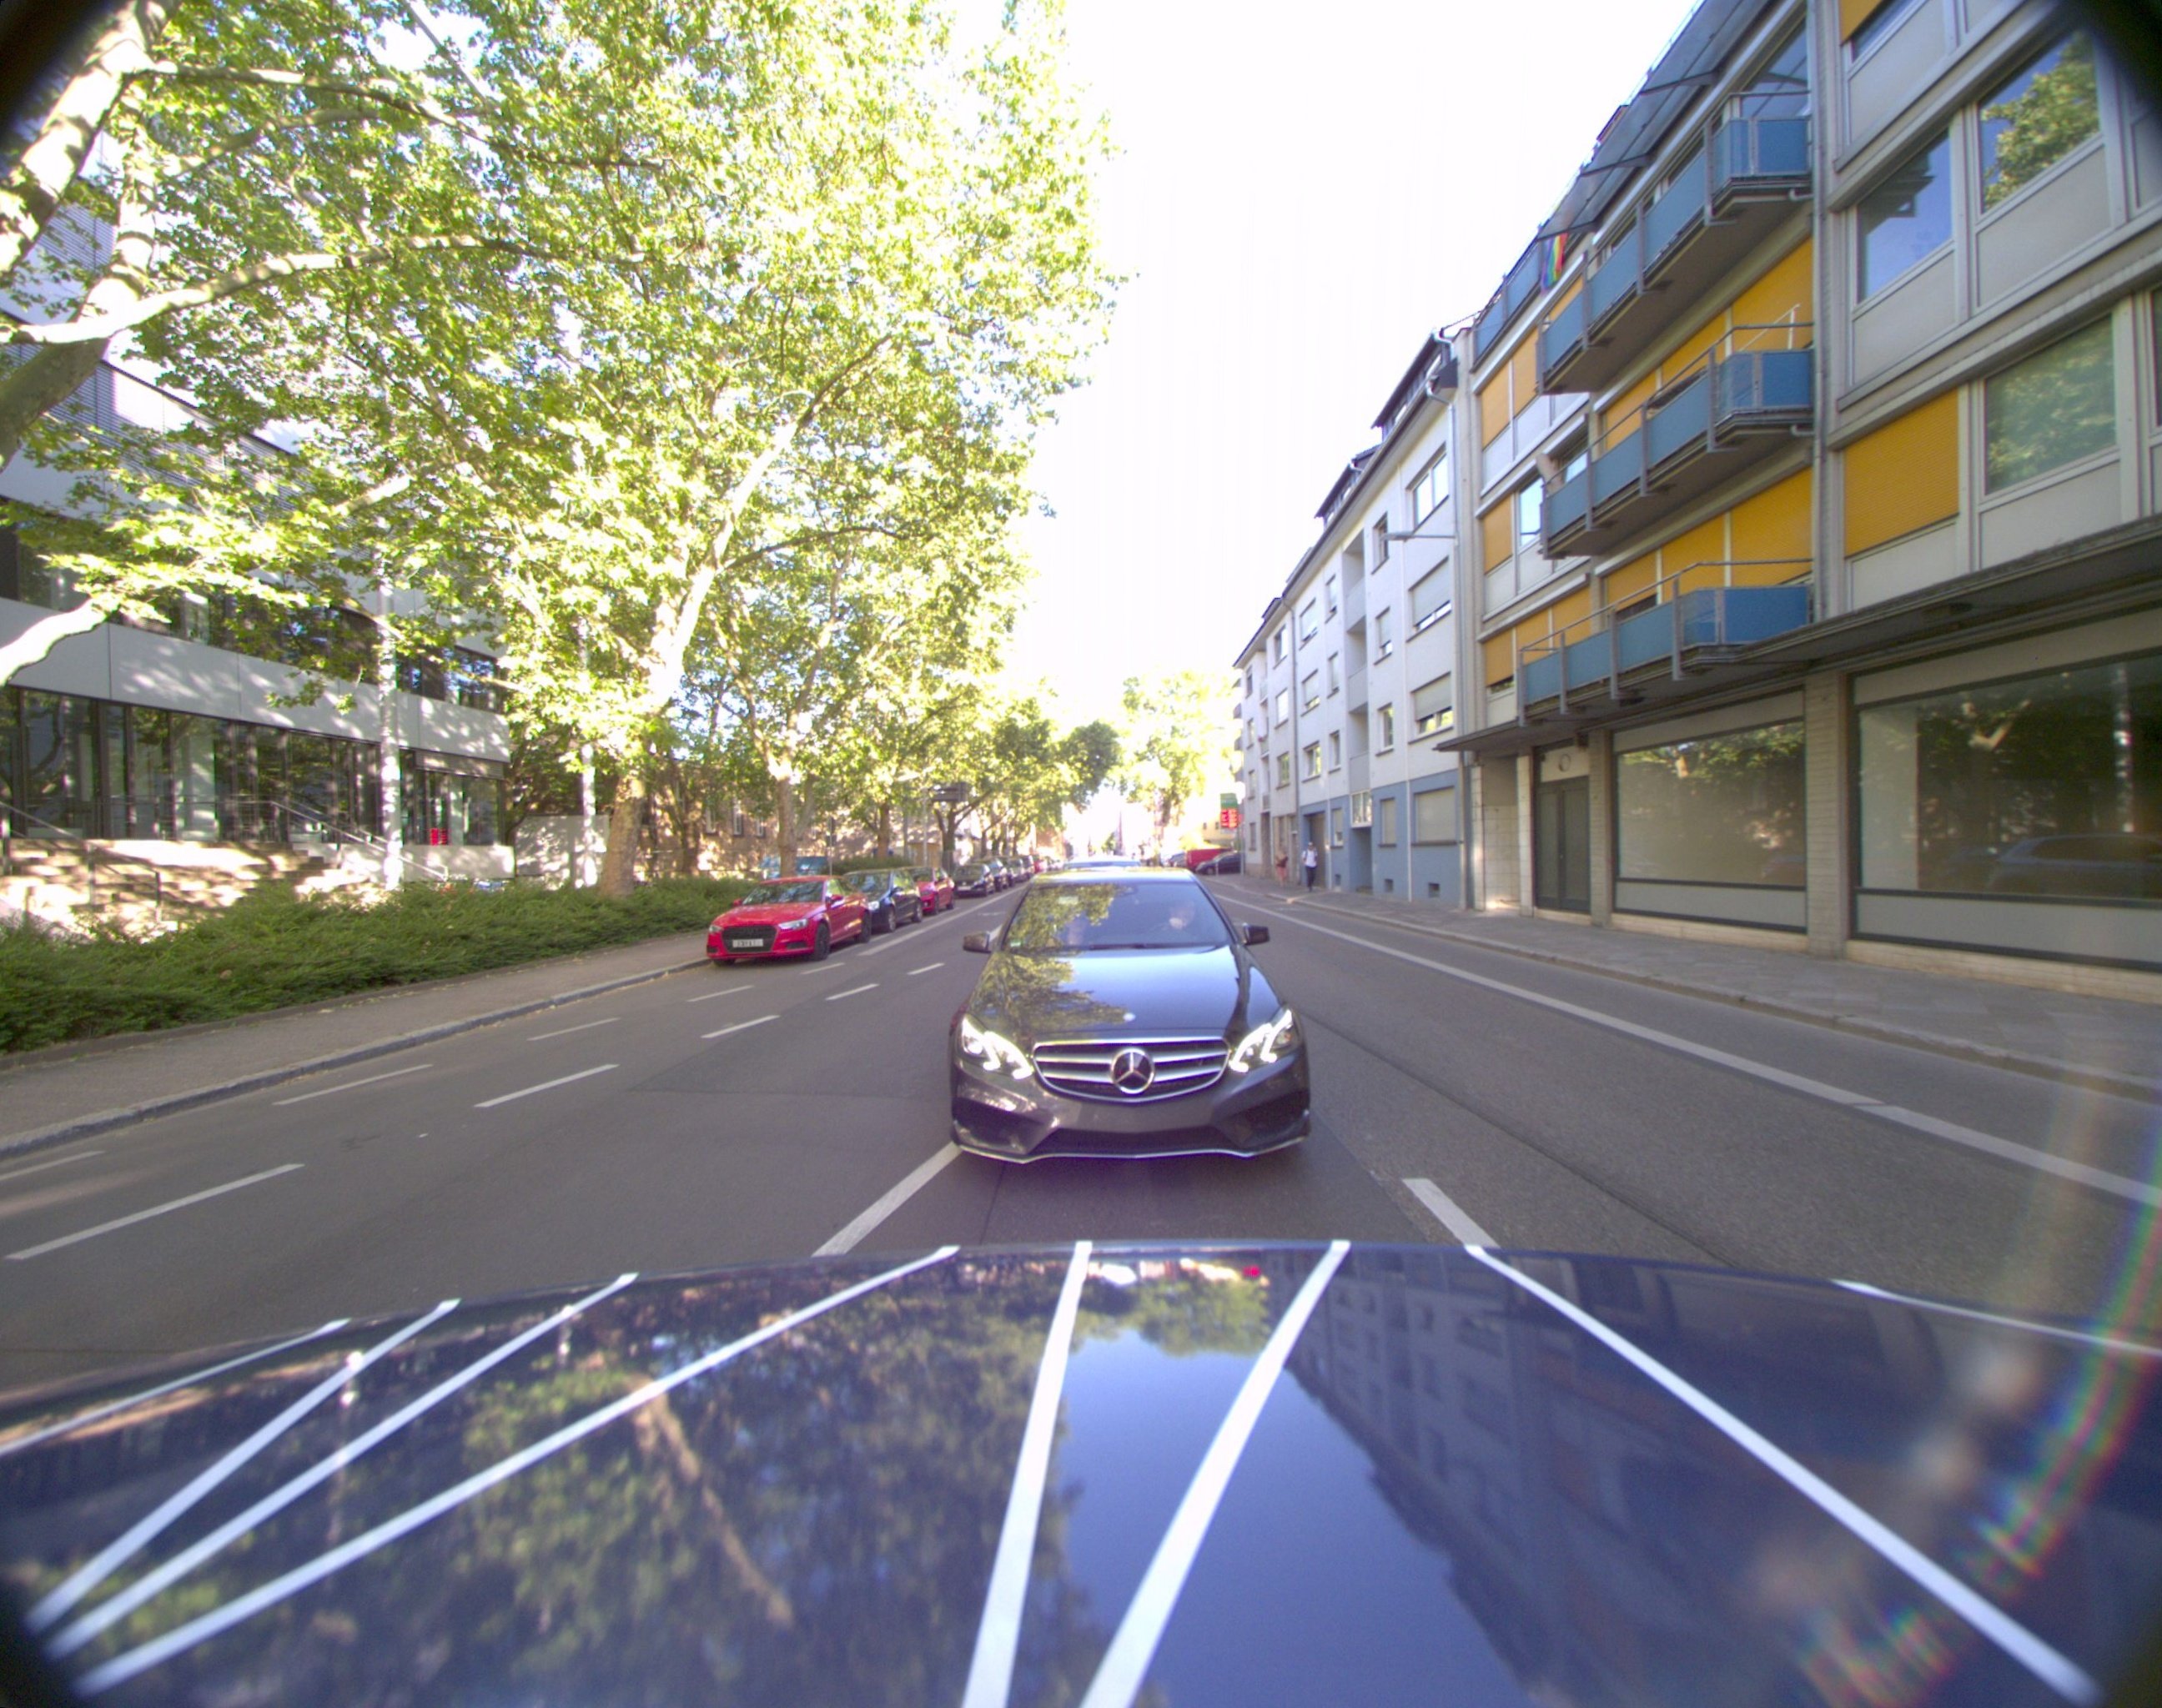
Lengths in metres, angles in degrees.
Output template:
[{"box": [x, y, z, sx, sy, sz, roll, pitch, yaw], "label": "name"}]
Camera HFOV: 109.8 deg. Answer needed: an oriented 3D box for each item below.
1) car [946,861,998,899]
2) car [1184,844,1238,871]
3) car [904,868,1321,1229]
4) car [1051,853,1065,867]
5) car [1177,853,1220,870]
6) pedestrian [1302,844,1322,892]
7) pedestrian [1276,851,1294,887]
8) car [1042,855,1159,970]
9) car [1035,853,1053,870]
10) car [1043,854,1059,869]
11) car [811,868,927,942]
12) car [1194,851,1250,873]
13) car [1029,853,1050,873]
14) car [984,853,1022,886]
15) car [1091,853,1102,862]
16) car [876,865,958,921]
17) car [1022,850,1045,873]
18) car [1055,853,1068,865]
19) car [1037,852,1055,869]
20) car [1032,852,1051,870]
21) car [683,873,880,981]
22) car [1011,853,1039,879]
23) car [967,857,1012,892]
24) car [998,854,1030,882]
[{"box": [-4.697, 1.099, 33.139, 1.635, 1.455, 3.740, -3, 0, 1], "label": "car"}, {"box": [10.225, 0.266, 59.964, 3.927, 1.912, 1.636, -3, 0, 1], "label": "car"}, {"box": [0.170, 0.918, 5.482, 1.804, 1.455, 4.125, -3, 0, 1], "label": "car"}, {"box": [-3.043, 0.800, 102.799, 1.635, 1.713, 3.673, -3, 0, 1], "label": "car"}, {"box": [9.641, 0.640, 62.648, 3.325, 1.241, 1.295, -3, 0, 1], "label": "car"}, {"box": [8.456, 0.514, 27.832, 0.569, 1.716, 0.343, -3, 1, 1], "label": "pedestrian"}, {"box": [8.631, 0.629, 32.166, 0.569, 1.509, 0.343, -3, 1, 1], "label": "pedestrian"}, {"box": [0.322, 0.883, 13.499, 1.680, 1.622, 4.125, -3, 0, 1], "label": "car"}, {"box": [-3.937, 0.767, 82.068, 1.635, 1.713, 3.673, -3, 0, 1], "label": "car"}, {"box": [-3.639, 0.934, 92.501, 1.635, 1.713, 3.673, -3, 0, 1], "label": "car"}, {"box": [-4.997, 1.150, 18.425, 1.635, 1.455, 3.740, -3, 0, 1], "label": "car"}, {"box": [10.105, 0.563, 54.727, 3.670, 1.403, 1.636, -3, 0, 1], "label": "car"}, {"box": [-3.888, 0.834, 71.018, 1.635, 1.713, 3.673, -3, 0, 1], "label": "car"}, {"box": [-4.503, 0.860, 44.287, 1.635, 1.795, 3.845, -3, 0, 1], "label": "car"}, {"box": [2.829, 0.580, 136.736, 1.853, 1.455, 4.099, -3, 0, 1], "label": "car"}, {"box": [-5.002, 1.150, 23.633, 1.635, 1.455, 3.740, -3, 0, 1], "label": "car"}, {"box": [-4.132, 0.647, 66.116, 1.635, 1.878, 3.673, -3, 0, 1], "label": "car"}, {"box": [-2.748, 0.724, 109.799, 1.635, 1.713, 3.673, -3, 0, 1], "label": "car"}, {"box": [-3.951, 0.725, 86.083, 1.635, 1.713, 3.673, -3, 0, 1], "label": "car"}, {"box": [-4.053, 0.731, 78.147, 1.635, 1.713, 3.673, -3, 0, 1], "label": "car"}, {"box": [-5.135, 1.165, 13.711, 1.804, 1.455, 4.125, -3, 0, 1], "label": "car"}, {"box": [-4.074, 0.835, 55.460, 1.635, 1.799, 3.673, -3, 0, 1], "label": "car"}, {"box": [-4.529, 0.975, 38.056, 1.635, 1.578, 3.845, -3, 0, 1], "label": "car"}, {"box": [-4.420, 0.903, 50.737, 1.635, 1.644, 3.845, -3, 0, 1], "label": "car"}]
